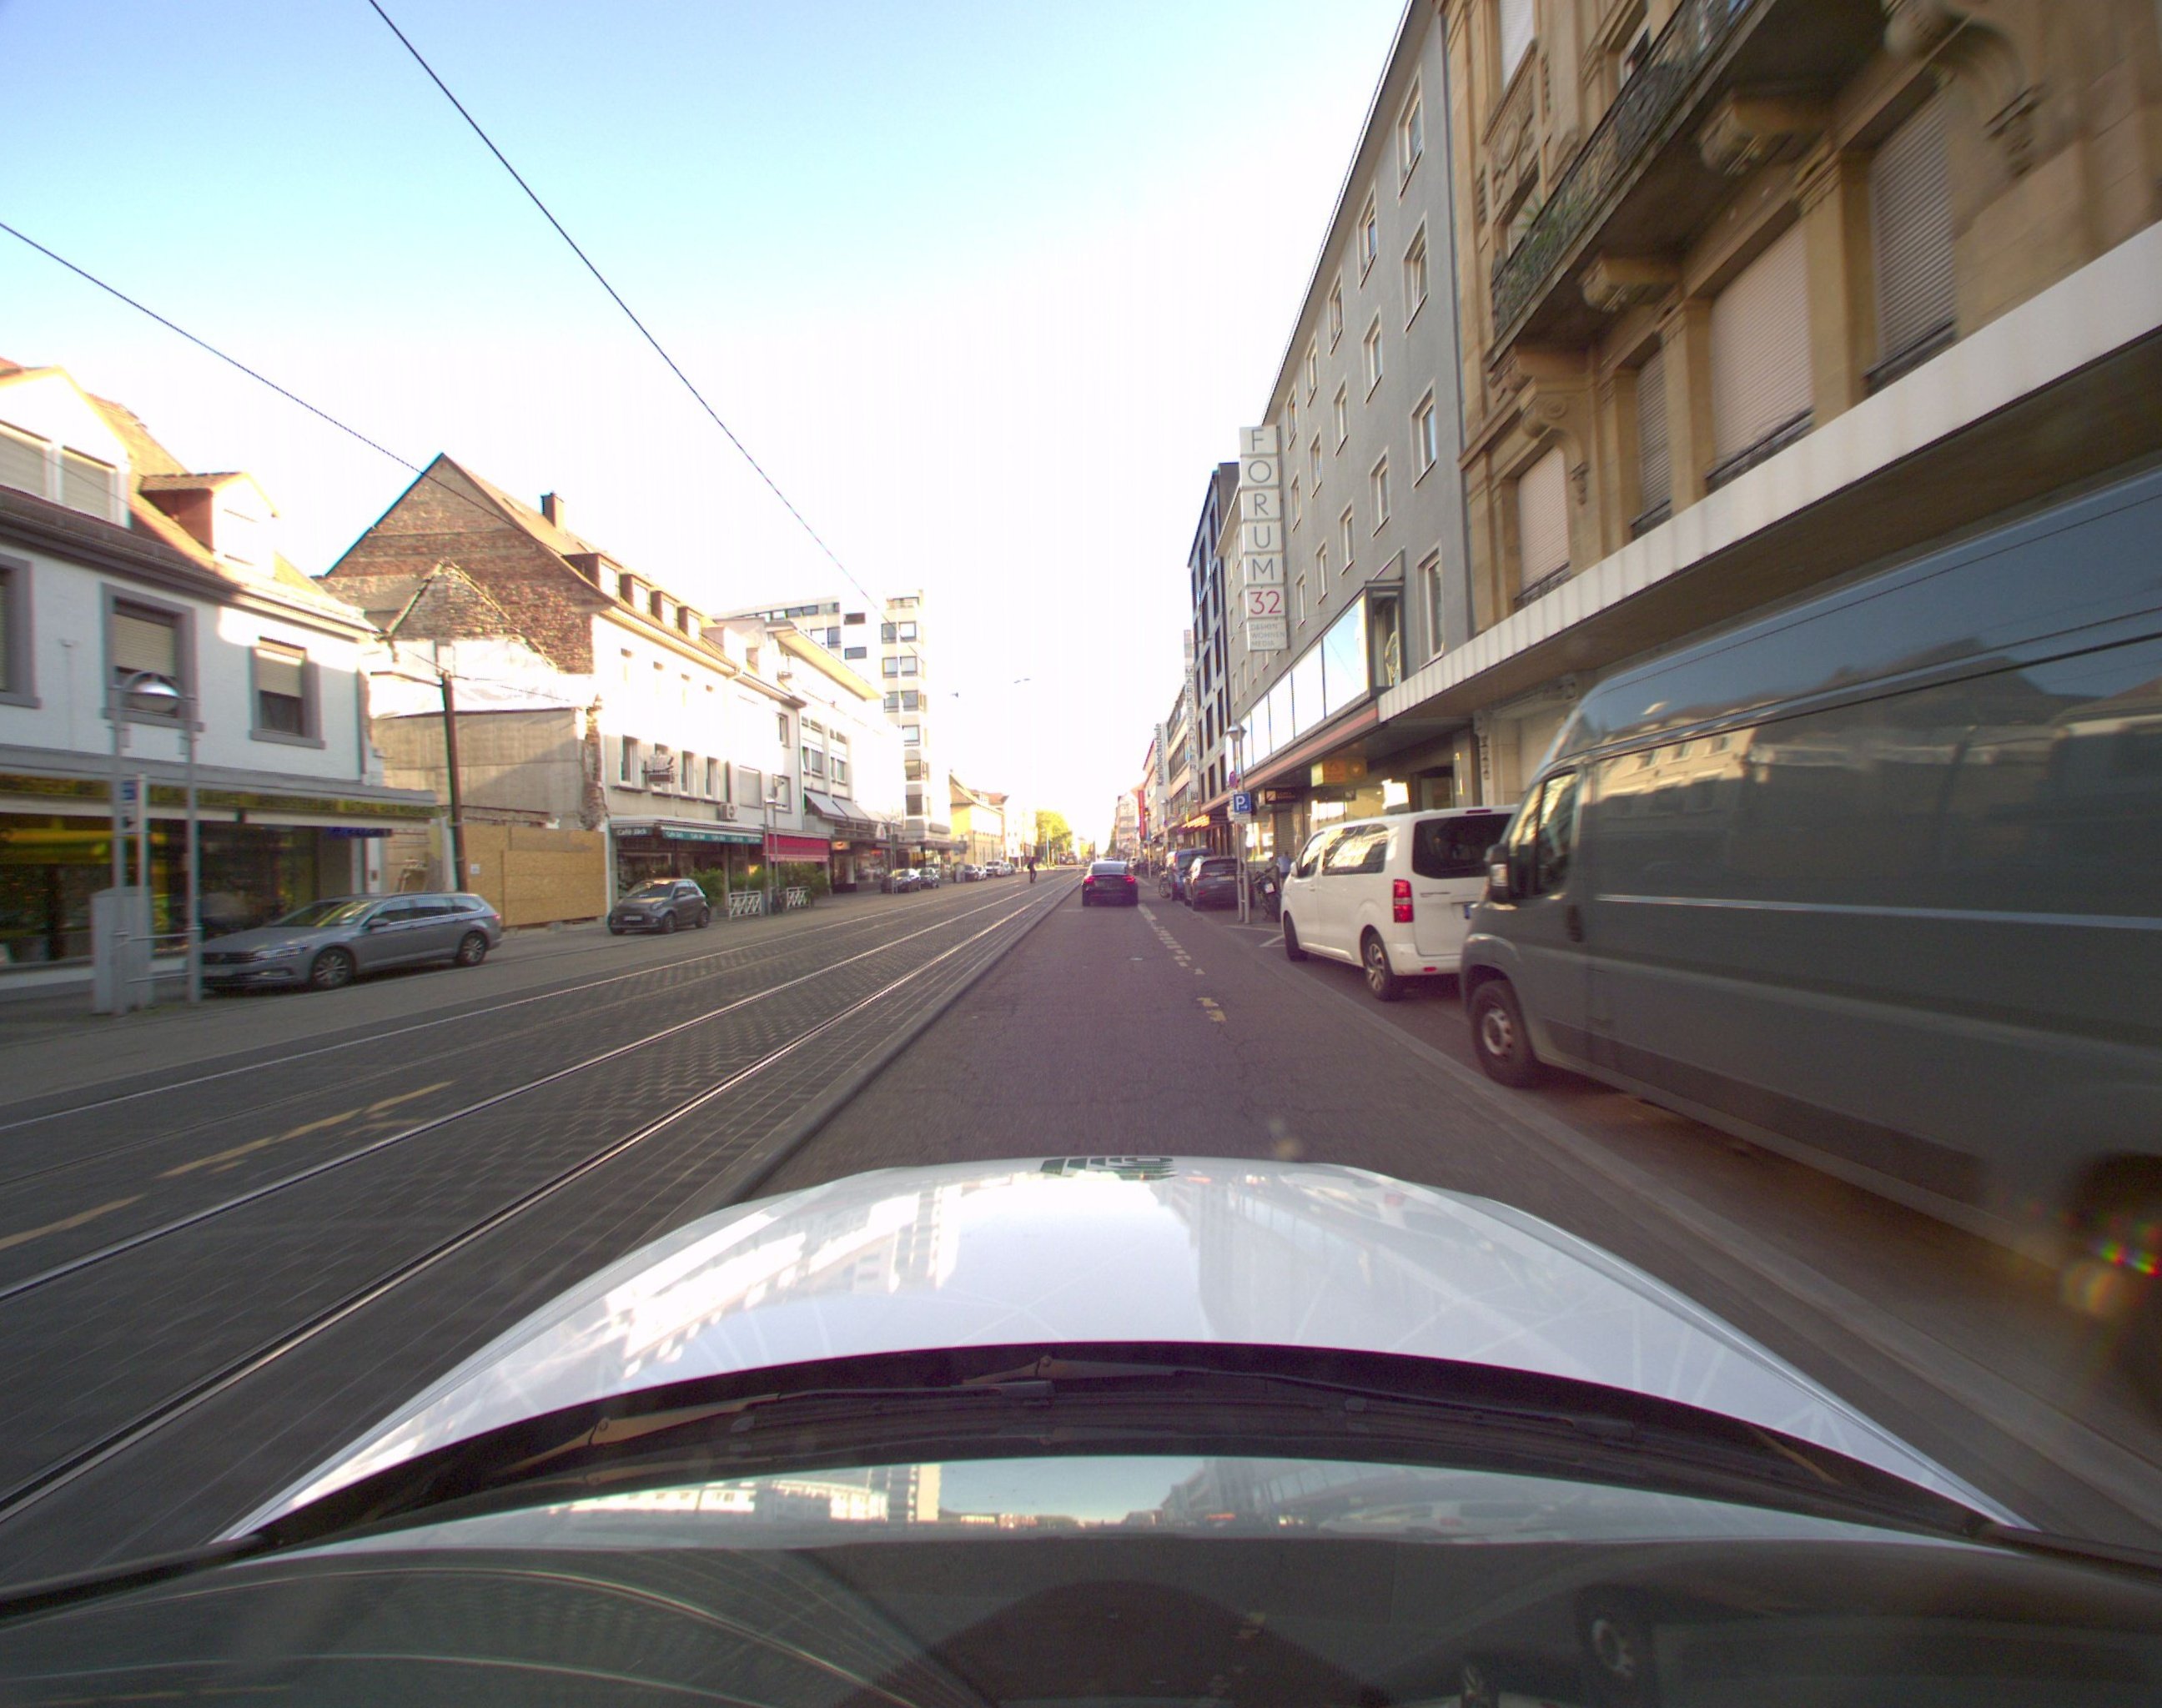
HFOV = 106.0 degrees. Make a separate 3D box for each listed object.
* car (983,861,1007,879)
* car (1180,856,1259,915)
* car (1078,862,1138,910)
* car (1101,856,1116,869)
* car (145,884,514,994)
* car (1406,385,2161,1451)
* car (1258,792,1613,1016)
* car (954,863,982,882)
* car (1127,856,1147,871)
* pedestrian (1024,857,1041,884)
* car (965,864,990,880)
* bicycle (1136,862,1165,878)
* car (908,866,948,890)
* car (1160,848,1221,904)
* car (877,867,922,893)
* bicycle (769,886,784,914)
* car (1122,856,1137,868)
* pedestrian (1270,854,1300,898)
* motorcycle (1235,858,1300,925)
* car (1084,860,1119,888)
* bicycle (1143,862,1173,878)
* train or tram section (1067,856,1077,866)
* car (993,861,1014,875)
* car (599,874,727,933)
[{"bbox_3d":[-9.980,1.793,94.945,2.001,1.961,4.726,-2,0,2],"label":"car"},{"bbox_3d":[3.956,0.856,23.849,1.745,1.499,3.755,-3,0,2],"label":"car"},{"bbox_3d":[0.943,1.022,27.876,1.862,1.427,4.367,-2,0,2],"label":"car"},{"bbox_3d":[3.881,1.183,116.154,2.077,1.871,3.755,-2,0,2],"label":"car"},{"bbox_3d":[-12.703,1.337,14.350,1.986,1.532,4.757,-1,-2,1],"label":"car"},{"bbox_3d":[3.594,0.119,3.545,2.164,2.461,5.363,-4,0,1],"label":"car"},{"bbox_3d":[3.873,0.478,10.028,2.152,1.926,4.615,-5,0,-1],"label":"car"},{"bbox_3d":[-10.466,1.701,75.616,1.710,1.571,3.853,-2,0,4],"label":"car"},{"bbox_3d":[6.208,1.068,90.872,1.986,1.543,4.001,-2,-1,2],"label":"car"},{"bbox_3d":[-3.344,1.118,55.805,0.764,1.849,0.833,-3,-1,30],"label":"pedestrian"},{"bbox_3d":[-10.335,1.787,81.565,1.762,1.508,3.976,-2,0,4],"label":"car"},{"bbox_3d":[5.305,1.218,62.051,2.153,1.097,0.686,-2,-1,-1],"label":"bicycle"},{"bbox_3d":[-10.905,1.697,58.381,1.761,1.508,3.866,-2,0,5],"label":"car"},{"bbox_3d":[3.957,0.769,29.992,1.814,1.871,3.755,-2,0,2],"label":"car"},{"bbox_3d":[-11.601,1.647,52.260,1.762,1.508,3.867,-2,0,3],"label":"car"},{"bbox_3d":[-11.593,1.735,31.020,0.369,1.002,1.596,-2,-1,-16],"label":"bicycle"},{"bbox_3d":[7.114,1.200,119.368,1.986,1.753,4.001,-2,-1,2],"label":"car"},{"bbox_3d":[6.825,0.729,27.267,0.732,1.402,0.983,-2,-1,1],"label":"pedestrian"},{"bbox_3d":[4.162,0.811,18.397,0.810,1.315,2.634,-6,-1,2],"label":"motorcycle"},{"bbox_3d":[1.080,1.069,44.073,1.756,1.419,4.354,-2,-1,1],"label":"car"},{"bbox_3d":[5.752,1.179,61.157,2.153,1.097,0.686,-2,-1,-1],"label":"bicycle"},{"bbox_3d":[-2.621,1.973,236.165,1.984,2.634,6.810,-2,0,5],"label":"train or tram section"},{"bbox_3d":[-9.715,1.750,101.813,1.980,1.613,4.276,-2,0,2],"label":"car"},{"bbox_3d":[-12.238,1.397,24.116,1.668,1.546,3.747,0,0,4],"label":"car"}]
